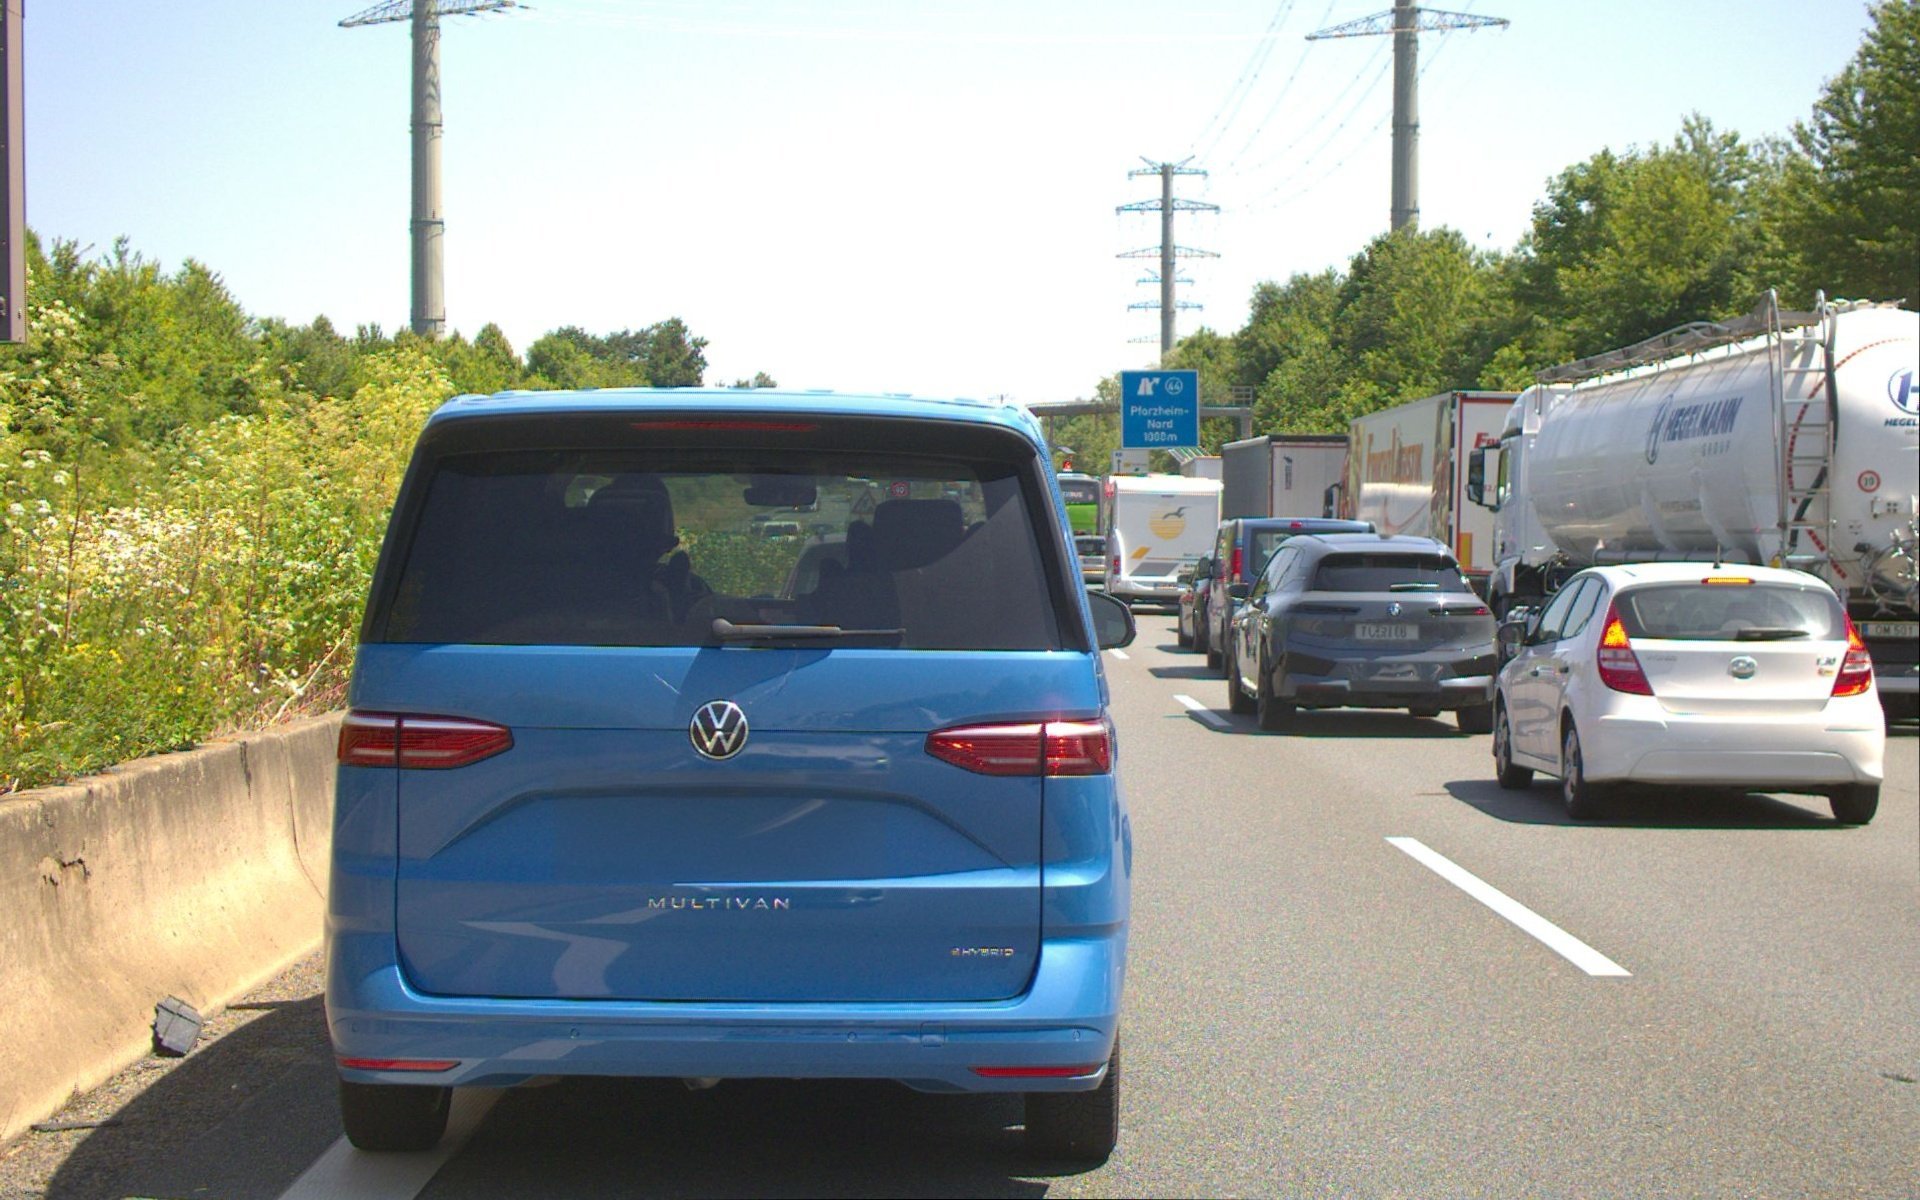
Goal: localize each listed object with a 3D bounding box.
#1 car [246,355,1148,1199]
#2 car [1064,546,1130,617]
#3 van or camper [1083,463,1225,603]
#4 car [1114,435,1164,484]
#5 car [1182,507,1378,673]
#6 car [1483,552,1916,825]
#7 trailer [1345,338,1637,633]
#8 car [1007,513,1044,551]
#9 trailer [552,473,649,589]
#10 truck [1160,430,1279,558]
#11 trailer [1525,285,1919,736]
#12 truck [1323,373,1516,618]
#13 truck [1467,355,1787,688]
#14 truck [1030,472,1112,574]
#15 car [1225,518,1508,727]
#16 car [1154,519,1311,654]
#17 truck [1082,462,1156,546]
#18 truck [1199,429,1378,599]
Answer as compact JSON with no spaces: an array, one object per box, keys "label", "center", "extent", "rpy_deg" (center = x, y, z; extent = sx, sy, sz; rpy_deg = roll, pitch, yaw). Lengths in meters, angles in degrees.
[{"label":"car","center":[-0.575,0.393,9.448],"extent":[1.920,1.880,4.000],"rpy_deg":[1,1,0]},{"label":"car","center":[3.992,-0.533,100.610],"extent":[1.836,1.992,4.000],"rpy_deg":[-1,0,1]},{"label":"van or camper","center":[4.293,-1.472,77.442],"extent":[2.957,3.011,7.102],"rpy_deg":[0,0,1]},{"label":"car","center":[7.849,-6.170,150.945],"extent":[1.993,2.007,4.000],"rpy_deg":[0,0,0]},{"label":"car","center":[3.921,-0.118,42.773],"extent":[1.923,1.919,4.236],"rpy_deg":[-1,0,-1]},{"label":"car","center":[4.347,0.482,20.798],"extent":[1.817,1.480,4.000],"rpy_deg":[0,0,1]},{"label":"trailer","center":[8.738,-1.810,58.213],"extent":[2.912,4.453,12.155],"rpy_deg":[0,1,-1]},{"label":"car","center":[3.740,-3.878,195.917],"extent":[1.993,2.118,4.000],"rpy_deg":[0,0,-1]},{"label":"trailer","center":[-16.074,-3.038,154.374],"extent":[3.322,5.030,9.591],"rpy_deg":[0,0,0]},{"label":"truck","center":[8.095,-3.229,108.729],"extent":[2.895,3.753,13.345],"rpy_deg":[0,0,1]},{"label":"trailer","center":[8.160,-0.840,35.049],"extent":[2.761,3.831,11.487],"rpy_deg":[0,1,-1]},{"label":"truck","center":[8.650,-1.934,65.239],"extent":[2.912,4.453,5.143],"rpy_deg":[0,1,-1]},{"label":"truck","center":[8.109,-0.938,42.435],"extent":[2.793,3.823,5.572],"rpy_deg":[0,1,-1]},{"label":"truck","center":[4.176,-2.874,131.228],"extent":[2.895,3.753,10.140],"rpy_deg":[0,0,1]},{"label":"car","center":[3.523,0.183,30.585],"extent":[1.999,1.709,4.625],"rpy_deg":[0,0,1]},{"label":"car","center":[4.075,-0.192,52.046],"extent":[1.923,1.919,4.236],"rpy_deg":[-1,0,-1]},{"label":"truck","center":[8.932,-5.363,194.423],"extent":[3.566,4.502,10.294],"rpy_deg":[0,0,-1]},{"label":"truck","center":[7.802,-1.957,83.722],"extent":[3.006,3.753,15.713],"rpy_deg":[0,0,1]}]
